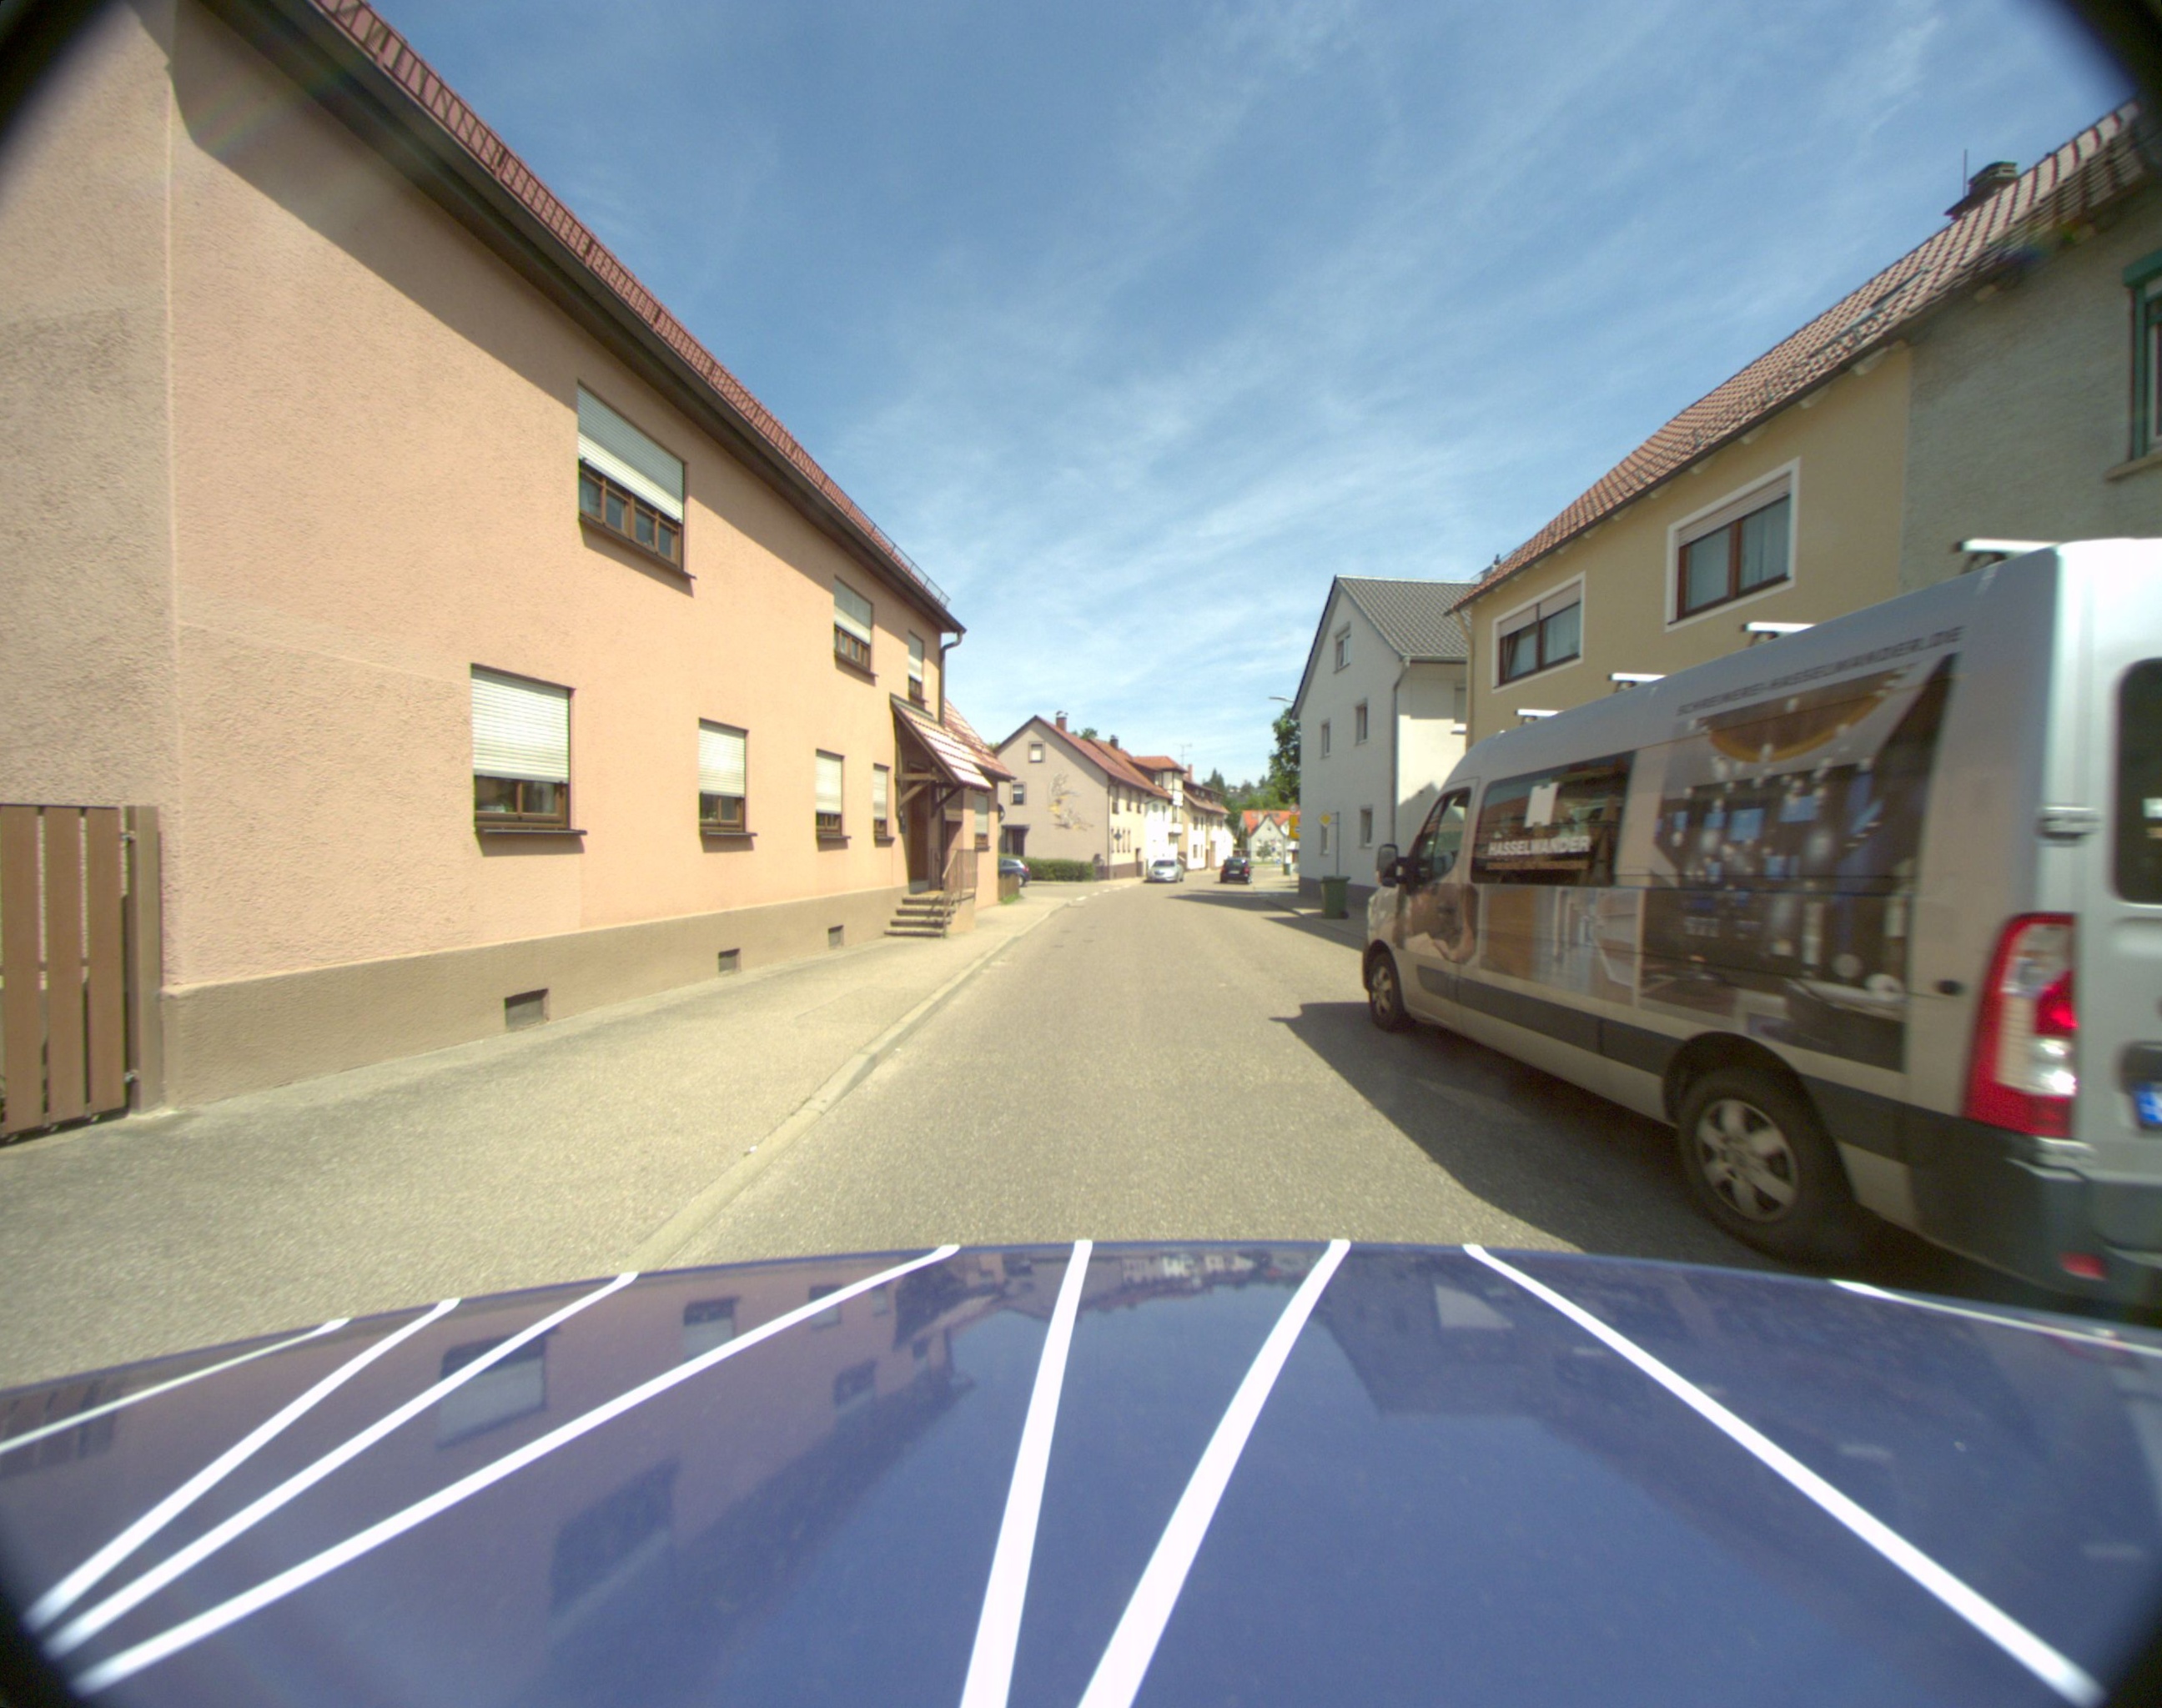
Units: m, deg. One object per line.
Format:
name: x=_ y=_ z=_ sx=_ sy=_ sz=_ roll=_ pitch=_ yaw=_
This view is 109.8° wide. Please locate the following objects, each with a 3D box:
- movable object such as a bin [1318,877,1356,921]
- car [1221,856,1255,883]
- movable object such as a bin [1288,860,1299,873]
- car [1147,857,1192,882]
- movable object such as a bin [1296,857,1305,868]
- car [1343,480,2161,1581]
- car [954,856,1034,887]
movable object such as a bin: x=6.354 y=1.117 z=18.895 sx=0.755 sy=1.054 sz=0.680 roll=0 pitch=0 yaw=6
car: x=9.720 y=0.918 z=46.924 sx=1.802 sy=1.546 sz=4.075 roll=1 pitch=0 yaw=15
movable object such as a bin: x=17.746 y=1.070 z=63.451 sx=0.826 sy=1.071 sz=0.819 roll=0 pitch=0 yaw=20
car: x=5.473 y=0.901 z=46.656 sx=1.787 sy=1.433 sz=4.343 roll=-1 pitch=0 yaw=19
movable object such as a bin: x=21.325 y=0.794 z=73.758 sx=0.792 sy=1.051 sz=0.652 roll=0 pitch=1 yaw=15
car: x=3.602 y=0.405 z=4.499 sx=2.119 sy=2.548 sz=5.827 roll=1 pitch=0 yaw=1
car: x=-4.272 y=0.862 z=37.850 sx=3.814 sy=1.479 sz=1.889 roll=0 pitch=1 yaw=-2
